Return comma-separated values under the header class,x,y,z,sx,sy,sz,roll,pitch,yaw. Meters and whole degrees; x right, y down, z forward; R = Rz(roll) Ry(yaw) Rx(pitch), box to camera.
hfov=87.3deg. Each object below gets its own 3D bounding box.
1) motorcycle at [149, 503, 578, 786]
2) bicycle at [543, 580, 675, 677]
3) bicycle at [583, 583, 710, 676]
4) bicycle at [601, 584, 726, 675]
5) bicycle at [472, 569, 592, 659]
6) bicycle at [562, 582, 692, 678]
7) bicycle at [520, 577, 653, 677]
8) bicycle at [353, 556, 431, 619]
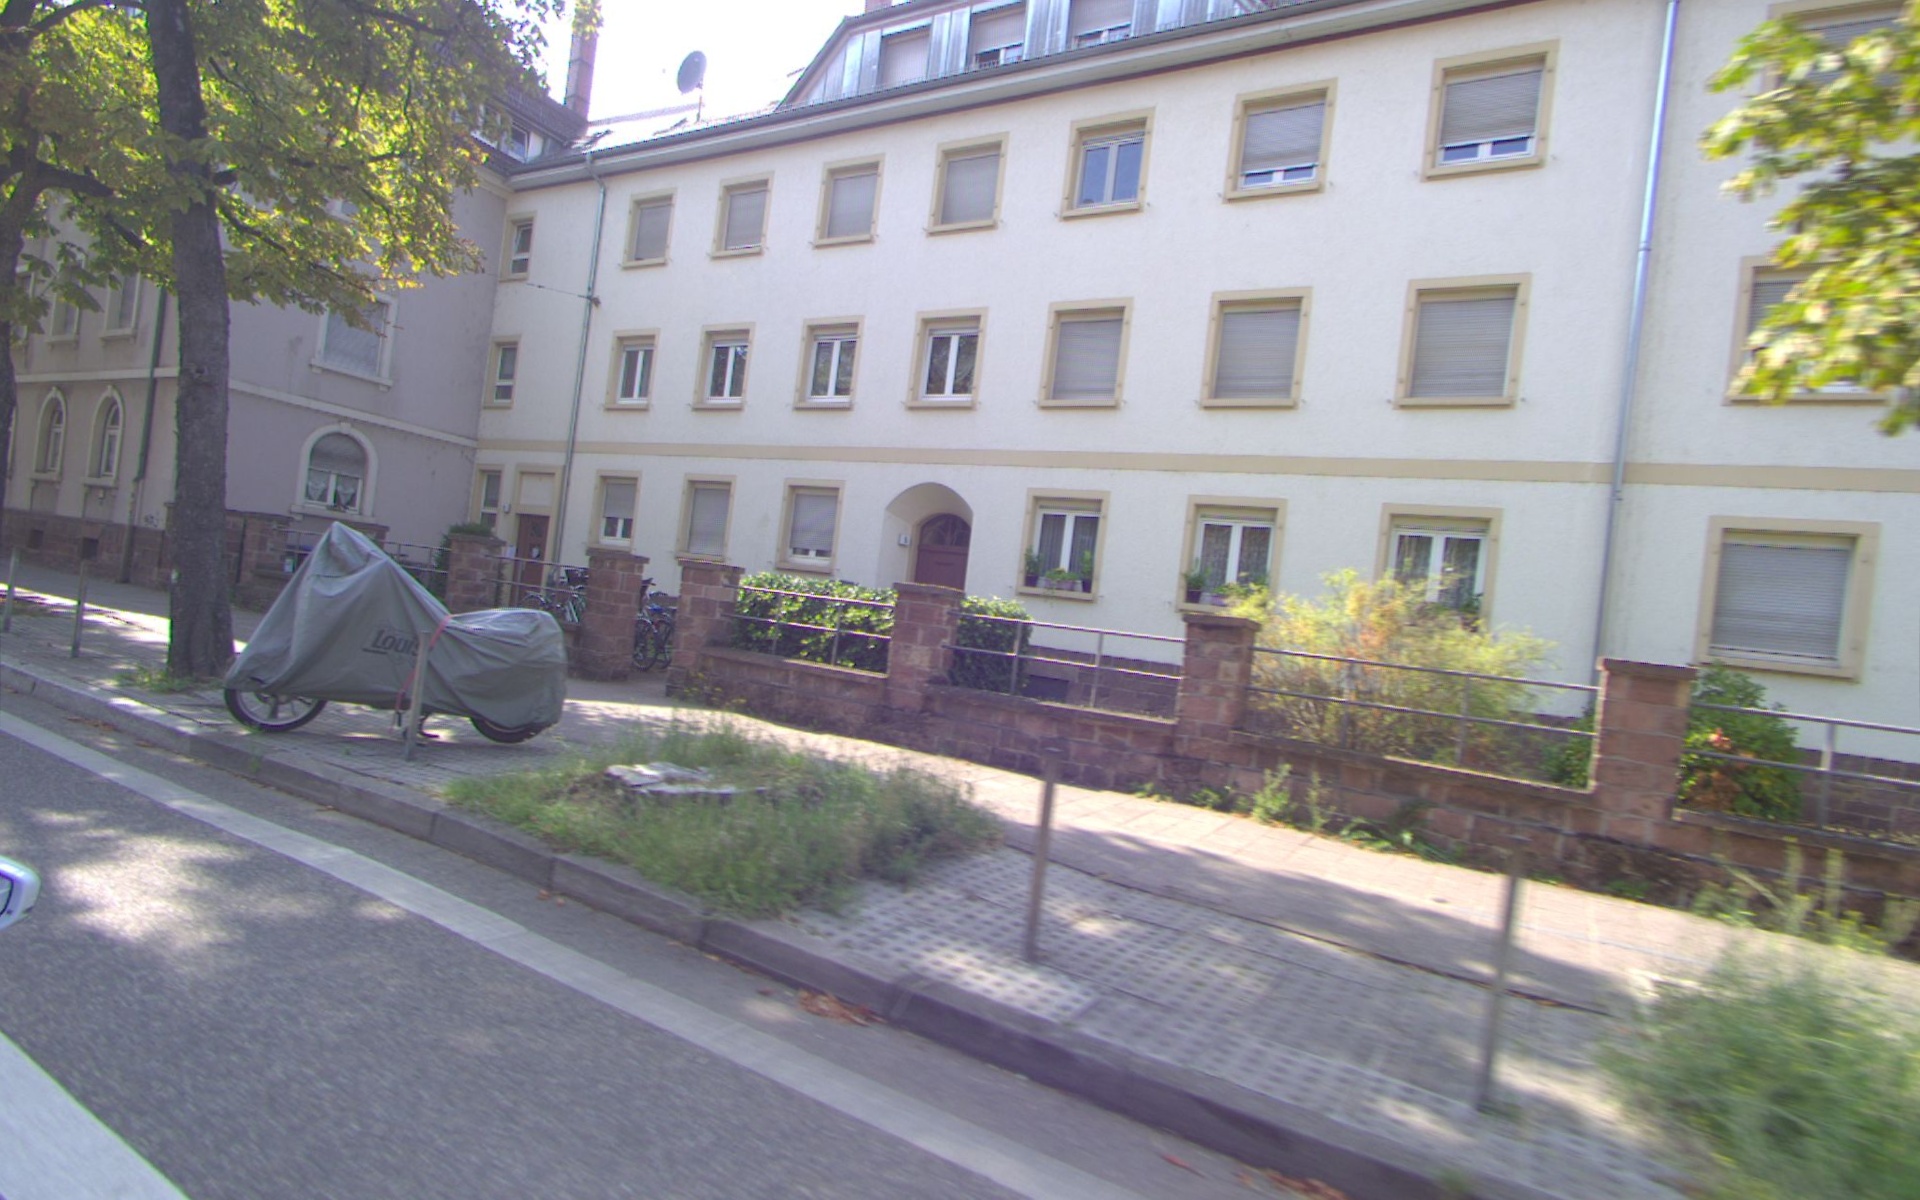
class,x,y,z,sx,sy,sz,roll,pitch,yaw
motorcycle,-4.152,0.331,7.262,2.382,1.695,0.910,6,1,-15
bicycle,-4.932,0.384,14.065,1.965,1.117,0.425,7,0,29
bicycle,-4.601,0.421,14.700,1.965,1.117,0.425,7,0,29
bicycle,-4.478,0.436,15.126,1.965,1.117,0.425,7,0,29
bicycle,-6.484,0.199,15.203,1.841,1.117,0.539,7,0,29
bicycle,-4.757,0.407,14.312,1.965,1.117,0.425,7,0,29
bicycle,-5.132,0.355,13.768,1.965,1.117,0.424,7,0,29
bicycle,-12.190,-0.278,21.575,1.842,1.117,0.538,7,0,32
